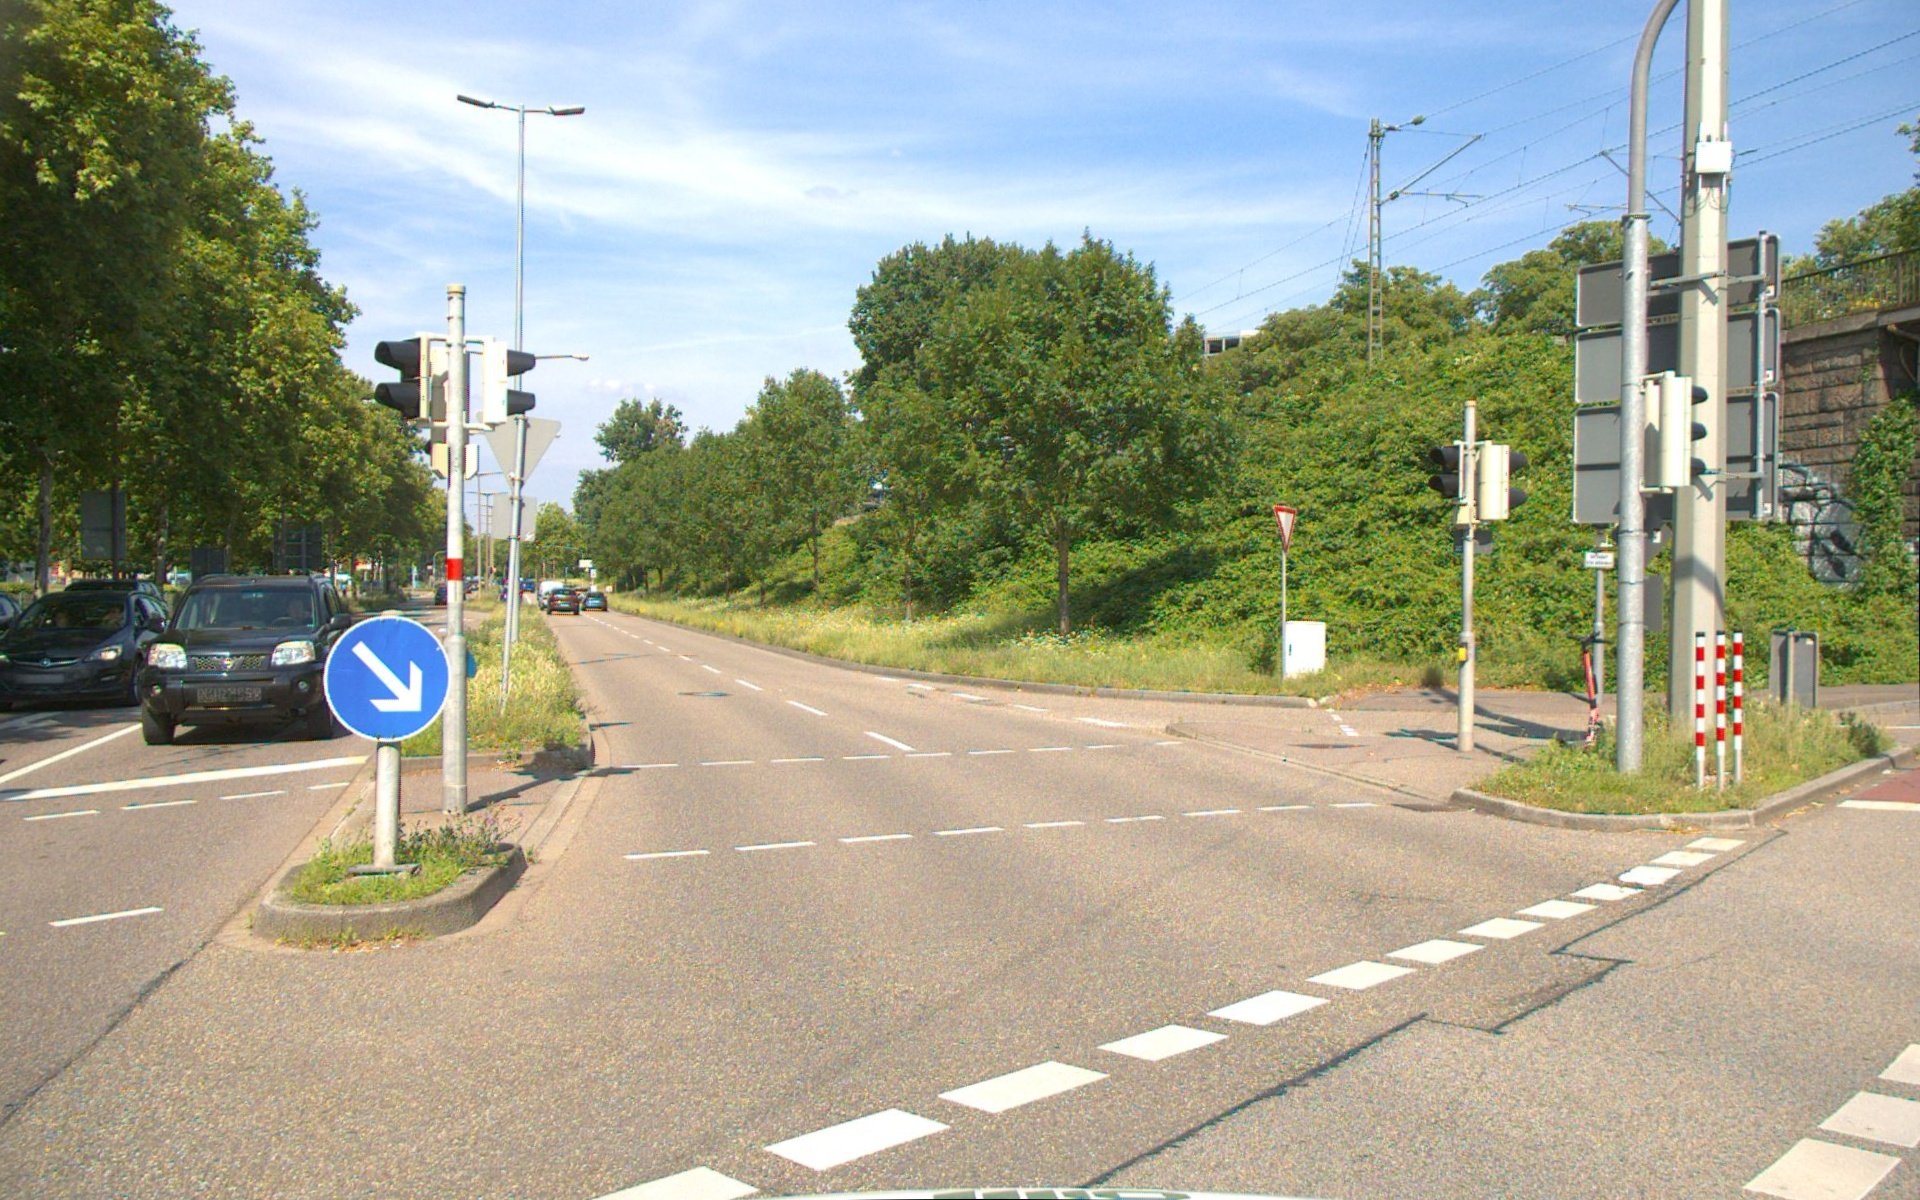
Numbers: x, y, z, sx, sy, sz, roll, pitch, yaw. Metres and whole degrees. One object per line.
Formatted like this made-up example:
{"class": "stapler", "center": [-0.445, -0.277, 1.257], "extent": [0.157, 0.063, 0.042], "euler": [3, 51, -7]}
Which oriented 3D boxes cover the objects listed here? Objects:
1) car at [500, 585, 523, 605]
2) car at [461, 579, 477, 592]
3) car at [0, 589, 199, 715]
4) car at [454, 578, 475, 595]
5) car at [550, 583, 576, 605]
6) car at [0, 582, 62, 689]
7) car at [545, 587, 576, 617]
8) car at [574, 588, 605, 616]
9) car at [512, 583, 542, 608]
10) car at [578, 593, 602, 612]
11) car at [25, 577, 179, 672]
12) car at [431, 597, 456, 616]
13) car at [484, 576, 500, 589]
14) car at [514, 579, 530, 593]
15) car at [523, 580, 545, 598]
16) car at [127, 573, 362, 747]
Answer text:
{"class": "car", "center": [-35.151, -0.408, 129.571], "extent": [1.600, 1.509, 4.031], "euler": [2, 0, -16]}
{"class": "car", "center": [-70.453, -2.044, 237.306], "extent": [1.959, 1.806, 3.988], "euler": [0, 0, -12]}
{"class": "car", "center": [-11.819, 0.627, 22.544], "extent": [1.805, 1.488, 4.499], "euler": [-2, 1, -15]}
{"class": "car", "center": [-46.173, -1.243, 154.197], "extent": [1.743, 1.493, 4.653], "euler": [-1, 0, -15]}
{"class": "car", "center": [-31.734, -0.480, 132.127], "extent": [1.960, 1.738, 4.246], "euler": [0, 0, -15]}
{"class": "car", "center": [-15.749, 0.551, 25.935], "extent": [1.856, 1.618, 4.428], "euler": [-1, 1, -15]}
{"class": "car", "center": [-23.826, 0.114, 98.558], "extent": [1.708, 1.562, 3.985], "euler": [1, 2, -15]}
{"class": "car", "center": [-27.178, 0.128, 121.231], "extent": [1.984, 1.869, 3.985], "euler": [1, 2, -15]}
{"class": "car", "center": [-30.298, -0.325, 115.608], "extent": [1.961, 1.713, 3.983], "euler": [0, 1, -16]}
{"class": "car", "center": [-34.249, 0.240, 153.027], "extent": [1.961, 1.738, 4.246], "euler": [0, 0, -15]}
{"class": "car", "center": [-18.218, 0.450, 35.341], "extent": [1.961, 1.867, 4.632], "euler": [-1, 1, -15]}
{"class": "car", "center": [-41.179, 0.514, 131.987], "extent": [1.798, 1.493, 4.965], "euler": [0, 0, -17]}
{"class": "car", "center": [-65.351, -2.428, 231.011], "extent": [1.960, 1.892, 3.986], "euler": [0, 0, -14]}
{"class": "car", "center": [-53.960, -1.722, 203.746], "extent": [1.961, 1.691, 4.230], "euler": [0, 0, -15]}
{"class": "car", "center": [-41.345, -1.096, 160.529], "extent": [1.961, 1.657, 4.070], "euler": [0, 1, -15]}
{"class": "car", "center": [-7.604, 0.530, 17.962], "extent": [1.778, 1.643, 4.471], "euler": [0, 1, -16]}
